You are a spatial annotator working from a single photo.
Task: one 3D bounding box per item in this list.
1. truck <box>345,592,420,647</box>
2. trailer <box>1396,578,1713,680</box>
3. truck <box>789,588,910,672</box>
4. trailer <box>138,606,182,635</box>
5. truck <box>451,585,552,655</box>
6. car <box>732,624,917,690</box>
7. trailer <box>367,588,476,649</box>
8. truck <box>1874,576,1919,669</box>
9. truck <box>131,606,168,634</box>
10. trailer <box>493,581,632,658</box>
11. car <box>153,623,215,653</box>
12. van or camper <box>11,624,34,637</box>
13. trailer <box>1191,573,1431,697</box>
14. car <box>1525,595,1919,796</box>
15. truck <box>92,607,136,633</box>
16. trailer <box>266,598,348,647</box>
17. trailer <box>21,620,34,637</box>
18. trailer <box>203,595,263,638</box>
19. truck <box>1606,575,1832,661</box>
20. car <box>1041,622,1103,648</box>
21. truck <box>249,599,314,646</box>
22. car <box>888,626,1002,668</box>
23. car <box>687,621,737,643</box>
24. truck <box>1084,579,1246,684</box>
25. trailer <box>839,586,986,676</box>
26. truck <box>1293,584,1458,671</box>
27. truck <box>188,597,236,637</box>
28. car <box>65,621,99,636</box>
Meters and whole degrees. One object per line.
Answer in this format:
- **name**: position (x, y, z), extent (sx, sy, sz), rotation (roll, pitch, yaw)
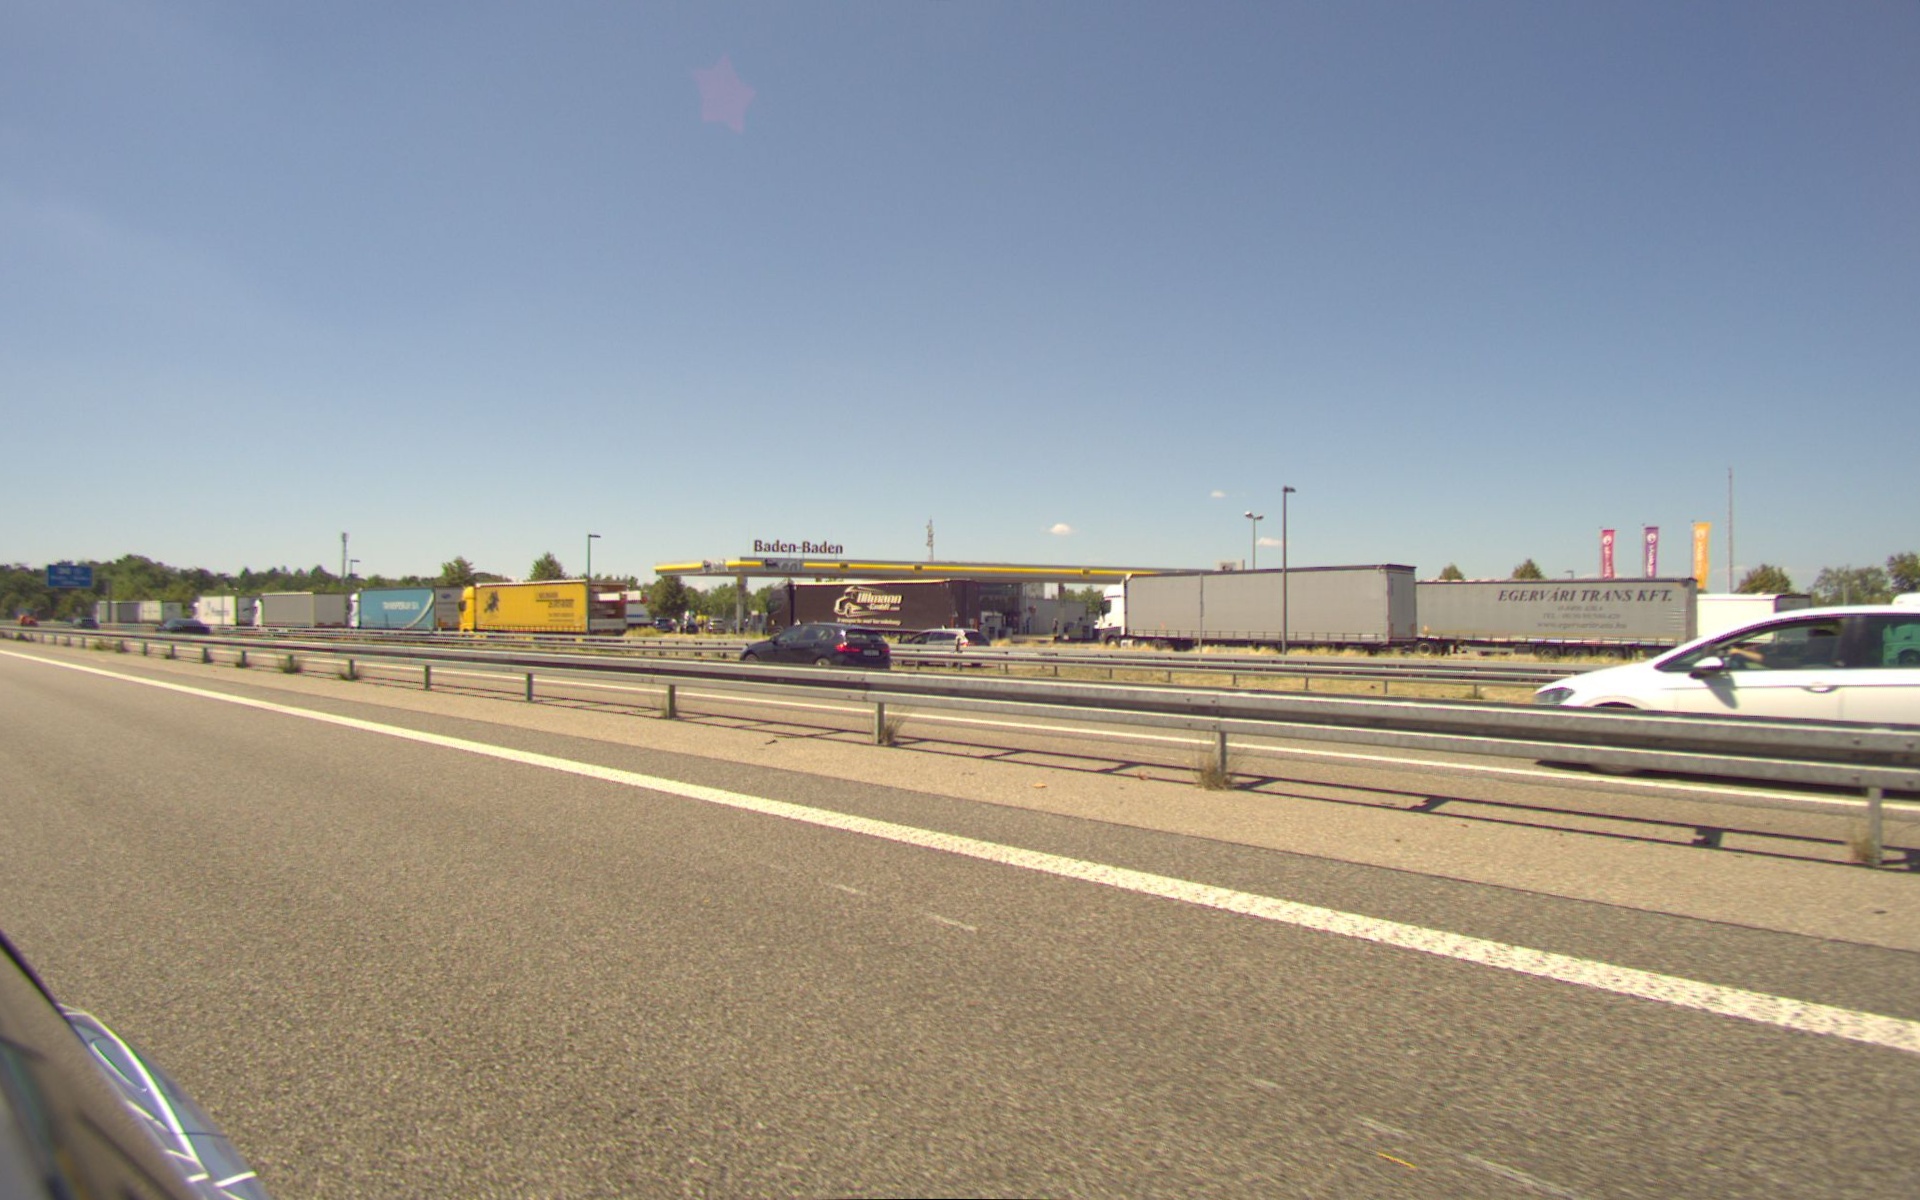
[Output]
- **truck**: position (-45.379, 1.476, 79.424), extent (7.084, 4.104, 2.821), rotation (-1, 0, 40)
- **trailer**: position (28.564, 1.326, 49.456), extent (12.921, 4.390, 3.265), rotation (-1, 0, 43)
- **truck**: position (-6.965, 1.814, 63.059), extent (7.878, 4.886, 2.993), rotation (-1, 0, 43)
- **trailer**: position (-121.249, 3.046, 153.329), extent (12.003, 4.187, 3.062), rotation (-1, 0, 41)
- **truck**: position (-29.788, 1.270, 65.590), extent (7.913, 4.232, 2.804), rotation (-1, 0, 41)
- **car**: position (-3.314, 1.327, 24.278), extent (4.544, 1.409, 1.849), rotation (-1, -4, 41)
- **trailer**: position (-39.993, 1.364, 74.841), extent (12.075, 4.180, 2.805), rotation (-1, 0, 40)
- **truck**: position (46.035, 0.992, 45.600), extent (3.124, 4.283, 6.658), rotation (-1, 0, -8)
- **truck**: position (-126.350, 3.137, 157.761), extent (8.311, 4.183, 3.063), rotation (-1, 0, 41)
- **trailer**: position (-23.989, 1.154, 60.658), extent (11.075, 4.251, 2.805), rotation (-1, 0, 40)
- **car**: position (-46.378, 2.247, 60.466), extent (5.013, 1.659, 1.952), rotation (-1, 0, 41)
- **van or camper**: position (-131.930, 4.243, 142.434), extent (4.744, 1.853, 1.877), rotation (-1, -1, 41)
- **trailer**: position (15.280, 1.398, 44.949), extent (3.260, 4.911, 9.699), rotation (-1, 0, -40)
- **car**: position (7.648, 0.780, 8.676), extent (4.664, 1.541, 1.699), rotation (-1, -4, 41)
- **truck**: position (-125.680, 2.935, 150.261), extent (13.598, 3.670, 2.770), rotation (-1, 0, 41)
- **trailer**: position (-58.867, 1.991, 91.076), extent (11.006, 4.189, 3.082), rotation (-1, 0, 40)
- **trailer**: position (-128.375, 3.940, 139.333), extent (1.997, 2.387, 1.155), rotation (-1, -2, 41)
- **trailer**: position (-75.673, 1.749, 105.223), extent (10.508, 4.250, 2.572), rotation (-1, 0, 41)
- **truck**: position (42.882, 0.943, 57.925), extent (3.008, 4.390, 10.745), rotation (-1, 0, -14)
- **car**: position (9.020, 2.794, 81.854), extent (4.780, 2.003, 1.794), rotation (-1, 0, 41)
- **truck**: position (-63.918, 2.077, 95.288), extent (7.498, 4.189, 3.085), rotation (-1, 0, 40)
- **car**: position (-0.635, 1.842, 40.339), extent (4.506, 1.500, 1.794), rotation (-1, 0, 41)
- **car**: position (-25.451, 3.244, 103.961), extent (4.797, 2.003, 1.956), rotation (-1, 0, -18)
- **truck**: position (10.209, 1.490, 51.185), extent (3.259, 4.886, 7.640), rotation (-1, 0, -39)
- **trailer**: position (-2.915, 1.743, 59.305), extent (9.133, 4.886, 3.000), rotation (-1, 0, 43)
- **truck**: position (22.502, 1.431, 55.137), extent (7.625, 4.390, 3.265), rotation (-1, 0, 43)
- **truck**: position (-81.520, 1.846, 110.269), extent (7.931, 4.220, 2.555), rotation (-1, 0, 41)
- **car**: position (-81.452, 2.616, 93.864), extent (4.316, 1.286, 1.723), rotation (-1, -4, 41)
